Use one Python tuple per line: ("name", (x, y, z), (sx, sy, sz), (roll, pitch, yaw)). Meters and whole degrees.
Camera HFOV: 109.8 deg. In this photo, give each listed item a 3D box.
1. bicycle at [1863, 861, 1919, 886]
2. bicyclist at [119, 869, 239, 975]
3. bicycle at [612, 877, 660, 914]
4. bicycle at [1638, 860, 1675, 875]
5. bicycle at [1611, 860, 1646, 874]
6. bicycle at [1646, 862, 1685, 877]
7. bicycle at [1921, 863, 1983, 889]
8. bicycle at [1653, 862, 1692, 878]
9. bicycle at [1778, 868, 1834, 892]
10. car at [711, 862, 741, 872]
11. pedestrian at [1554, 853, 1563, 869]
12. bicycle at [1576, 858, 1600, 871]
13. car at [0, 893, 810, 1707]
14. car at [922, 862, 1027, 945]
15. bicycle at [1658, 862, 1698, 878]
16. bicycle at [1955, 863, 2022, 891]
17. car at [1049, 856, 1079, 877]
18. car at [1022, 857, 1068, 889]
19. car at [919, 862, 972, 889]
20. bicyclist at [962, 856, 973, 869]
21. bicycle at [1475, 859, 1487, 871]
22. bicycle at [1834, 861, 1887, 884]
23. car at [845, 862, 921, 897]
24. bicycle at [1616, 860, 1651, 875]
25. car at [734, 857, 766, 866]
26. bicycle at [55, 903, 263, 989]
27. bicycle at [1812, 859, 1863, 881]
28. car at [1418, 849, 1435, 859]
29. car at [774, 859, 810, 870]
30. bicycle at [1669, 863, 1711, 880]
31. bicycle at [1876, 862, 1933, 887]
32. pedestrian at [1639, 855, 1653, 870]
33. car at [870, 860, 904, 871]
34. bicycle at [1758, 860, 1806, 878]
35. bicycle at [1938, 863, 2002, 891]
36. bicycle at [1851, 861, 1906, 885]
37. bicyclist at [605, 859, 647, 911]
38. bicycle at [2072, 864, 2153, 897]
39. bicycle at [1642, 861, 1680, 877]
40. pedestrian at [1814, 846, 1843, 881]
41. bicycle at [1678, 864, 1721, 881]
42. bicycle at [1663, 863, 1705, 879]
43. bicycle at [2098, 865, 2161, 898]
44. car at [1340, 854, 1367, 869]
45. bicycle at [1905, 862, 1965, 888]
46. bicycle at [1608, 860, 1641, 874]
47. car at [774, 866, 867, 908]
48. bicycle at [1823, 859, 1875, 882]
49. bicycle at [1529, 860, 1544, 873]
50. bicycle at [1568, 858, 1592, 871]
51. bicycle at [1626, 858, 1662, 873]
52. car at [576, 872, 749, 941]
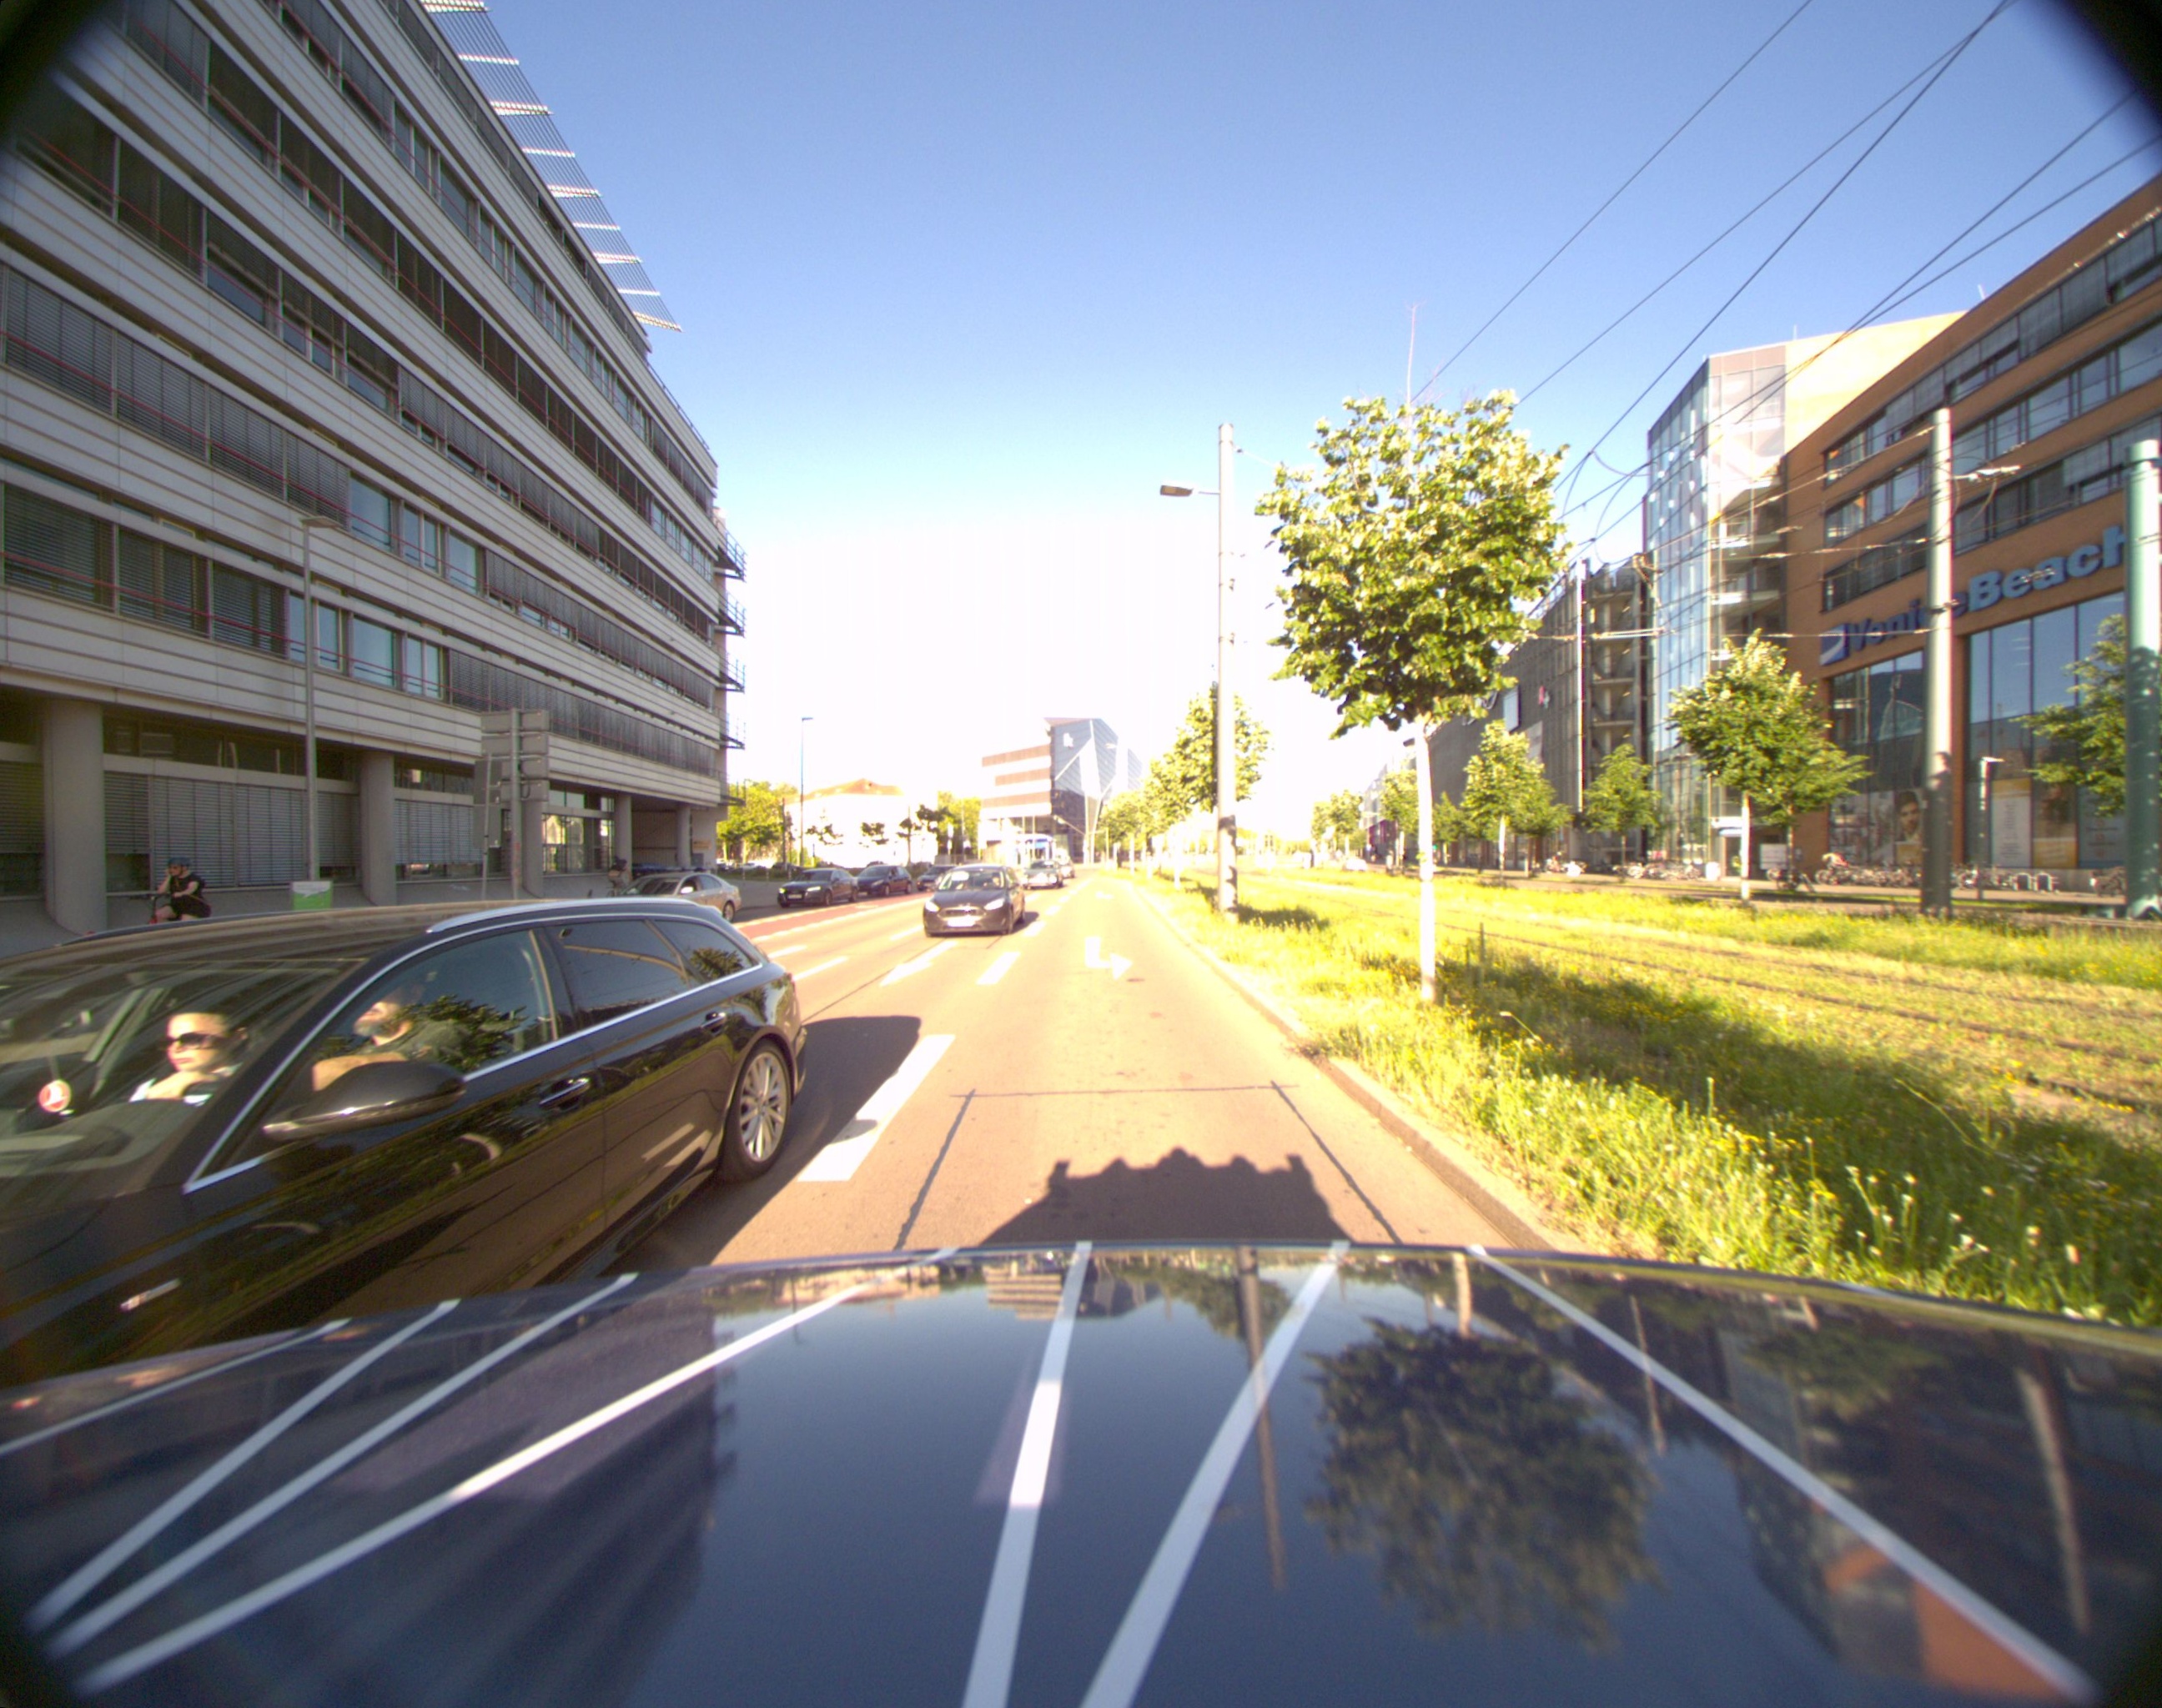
("bicycle", (35.440, 0.859, 33.260), (1.769, 1.043, 0.491), (-1, 1, 8))
("bicyclist", (-14.266, 1.045, 12.045), (0.625, 1.557, 1.044), (2, 1, 6))
("bicycle", (-14.207, 1.298, 24.308), (0.505, 1.052, 1.702), (2, 1, 1))
("bicycle", (35.502, 0.825, 46.903), (1.768, 0.921, 0.491), (-1, 1, 16))
("bicycle", (36.160, 0.867, 50.193), (1.768, 0.921, 0.491), (-1, 1, 16))
("bicycle", (35.077, 0.933, 45.578), (1.768, 0.921, 0.565), (-1, 1, 16))
("bicycle", (35.063, 0.888, 30.593), (1.769, 1.043, 0.491), (-1, 1, 8))
("bicycle", (34.926, 0.943, 44.885), (1.768, 0.921, 0.565), (-1, 1, 16))
("bicycle", (27.681, 0.984, 29.060), (0.464, 0.863, 1.771), (-1, 0, 0))
("car", (-52.718, 1.906, 112.930), (3.990, 1.368, 1.938), (-1, 0, 26))
("pedestrian", (37.756, 0.538, 60.049), (0.448, 1.282, 0.630), (-1, 1, 13))
("bicycle", (37.123, 0.796, 55.620), (1.398, 0.921, 0.462), (-1, 1, 16))
("car", (-2.522, 0.987, 2.045), (1.815, 1.483, 4.496), (-1, 0, 2))
("car", (-2.201, 0.977, 16.718), (1.690, 1.425, 4.152), (-2, 1, 0))
("bicycle", (34.744, 0.953, 44.237), (1.768, 0.921, 0.565), (-1, 1, 16))
("bicycle", (34.889, 0.870, 29.220), (1.769, 1.043, 0.491), (-1, 1, 8))
("car", (-1.229, 0.906, 56.595), (1.619, 1.421, 3.769), (-2, 0, 7))
("car", (-1.816, 0.952, 39.337), (1.748, 1.496, 3.882), (-1, 0, 6))
("car", (-7.557, 1.172, 42.705), (1.437, 1.437, 4.005), (1, -1, 13))
("bicyclist", (-14.314, 1.035, 95.949), (1.006, 1.598, 0.880), (-1, 1, 13))
("bicycle", (30.958, 0.849, 58.778), (0.386, 0.918, 1.773), (-1, 0, 13))
("bicycle", (35.682, 0.841, 34.788), (1.769, 1.043, 0.491), (-1, 1, 8))
("car", (-9.281, 1.166, 36.019), (1.734, 1.437, 4.004), (-3, -1, 13))
("bicycle", (35.971, 0.878, 49.492), (1.768, 0.921, 0.565), (-1, 1, 16))
("car", (-48.003, 1.118, 110.201), (3.990, 1.237, 2.003), (-1, 0, 25))
("bicycle", (-14.272, 1.381, 11.882), (0.500, 1.026, 2.206), (4, 1, 1))
("bicycle", (35.833, 0.763, 35.997), (1.769, 1.043, 0.491), (-1, 1, 8))
("car", (53.043, -0.022, 116.644), (1.582, 1.521, 3.754), (-2, 0, 12))
("car", (-40.903, 1.470, 107.535), (4.516, 1.414, 2.003), (-1, 0, 18))
("bicycle", (34.237, 0.980, 42.718), (1.768, 0.921, 0.565), (-1, 1, 16))
("bicycle", (35.296, 0.868, 32.581), (1.769, 1.043, 0.491), (-1, 1, 8))
("pedestrian", (40.162, 0.593, 54.017), (0.629, 1.048, 0.450), (-1, 1, 13))
("car", (-26.318, 1.578, 102.946), (3.991, 1.414, 2.003), (-1, 0, 19))
("bicycle", (36.984, 0.798, 40.101), (1.768, 0.921, 0.565), (-1, 1, 16))
("bicycle", (34.941, 0.897, 29.886), (1.769, 1.043, 0.491), (-1, 1, 8))
("bicycle", (35.567, 0.851, 33.907), (1.769, 1.043, 0.491), (-1, 1, 8))
("bicyclist", (-14.411, 0.963, 24.082), (0.685, 1.609, 0.991), (-1, 1, 2))
("bicycle", (34.047, 0.882, 25.099), (1.769, 1.043, 0.491), (-1, 1, 8))
("bicycle", (35.318, 0.920, 46.272), (1.768, 0.921, 0.565), (-1, 1, 16))
("pedestrian", (35.941, 0.437, 36.556), (0.746, 1.659, 0.676), (-1, 1, 6))
("bicycle", (33.871, 0.999, 41.636), (1.768, 0.921, 0.565), (-1, 1, 16))
("bicycle", (34.519, 0.965, 43.512), (1.768, 0.921, 0.565), (-1, 1, 16))
("bicycle", (34.019, 0.887, 24.428), (1.769, 1.043, 0.491), (-1, 1, 8))
("car", (25.097, 0.662, 69.971), (1.809, 1.320, 4.409), (0, 1, 13))
("bicycle", (35.139, 0.882, 31.280), (1.769, 1.043, 0.491), (-1, 1, 8))
("bicycle", (36.328, 0.865, 50.793), (1.768, 0.921, 0.491), (-1, 1, 16))
("car", (-9.844, 1.213, 29.084), (1.713, 1.432, 4.114), (-2, -1, 7))
("bicycle", (35.764, 0.770, 35.377), (1.769, 1.043, 0.491), (-1, 1, 8))
("bicycle", (32.089, 0.889, 53.509), (0.386, 0.863, 1.773), (-1, 0, 13))
("bicycle", (37.453, 0.776, 57.038), (1.398, 0.921, 0.462), (-1, 1, 16))
("bicycle", (35.795, 0.753, 48.306), (1.768, 0.921, 0.491), (-1, 1, 16))
("car", (-10.424, 1.243, 19.388), (1.755, 1.423, 4.489), (-1, 0, 2))
